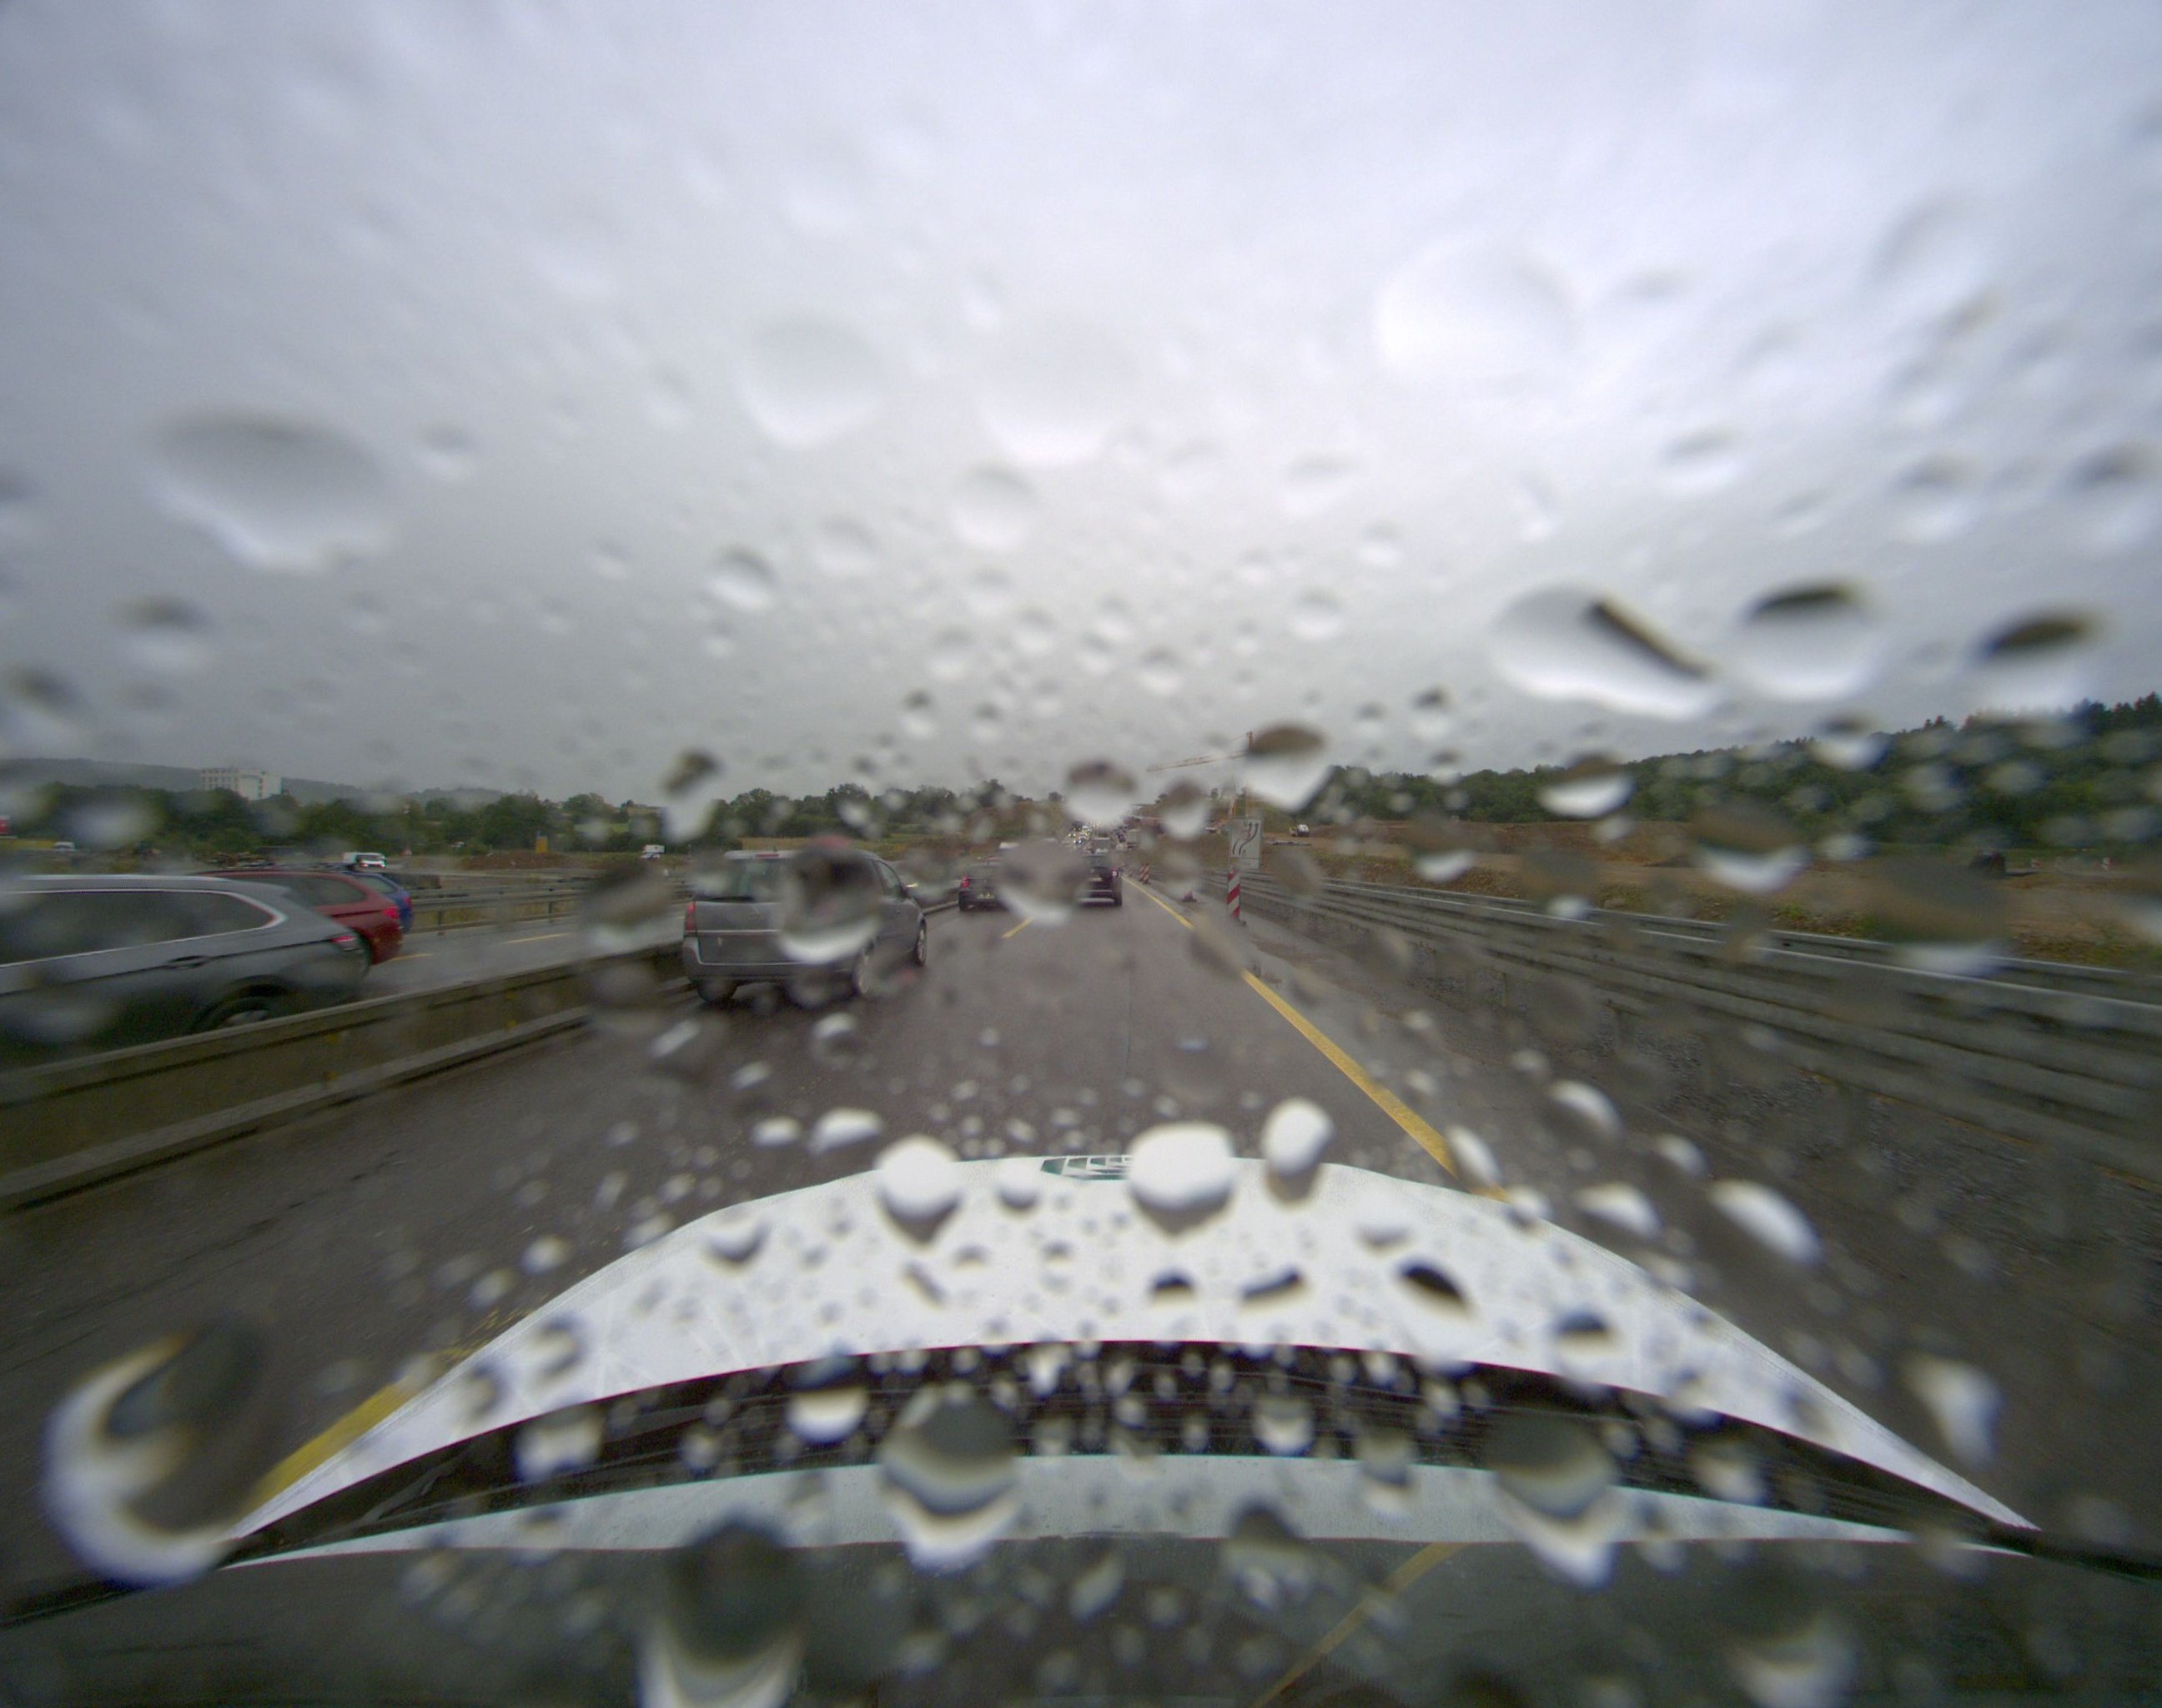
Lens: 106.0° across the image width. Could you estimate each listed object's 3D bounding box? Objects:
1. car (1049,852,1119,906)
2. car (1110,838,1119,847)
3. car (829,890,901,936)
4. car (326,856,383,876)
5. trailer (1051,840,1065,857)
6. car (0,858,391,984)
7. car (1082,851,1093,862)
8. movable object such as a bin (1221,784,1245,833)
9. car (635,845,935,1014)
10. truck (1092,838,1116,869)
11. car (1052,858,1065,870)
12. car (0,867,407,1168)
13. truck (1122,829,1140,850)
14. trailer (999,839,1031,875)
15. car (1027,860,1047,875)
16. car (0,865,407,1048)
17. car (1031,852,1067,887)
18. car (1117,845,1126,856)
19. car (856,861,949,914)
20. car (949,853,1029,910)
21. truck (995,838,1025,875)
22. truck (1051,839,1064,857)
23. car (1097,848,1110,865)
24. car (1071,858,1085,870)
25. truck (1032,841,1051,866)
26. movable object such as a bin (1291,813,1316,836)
[{"bbox_3d":[0.154,0.767,26.527,2.073,1.600,4.142,0,-1,2],"label":"car"},{"bbox_3d":[8.276,-2.842,199.915,1.986,2.013,4.001,-1,1,1],"label":"car"},{"bbox_3d":[-8.759,2.373,33.324,1.814,1.496,4.000,-1,1,0],"label":"car"},{"bbox_3d":[-75.134,1.246,84.252,4.987,2.014,2.283,-1,-1,20],"label":"car"},{"bbox_3d":[-4.926,-1.176,178.016,2.611,3.677,12.003,0,0,0],"label":"trailer"},{"bbox_3d":[-13.415,0.835,12.201,1.986,1.510,4.748,0,-1,2],"label":"car"},{"bbox_3d":[1.231,0.472,159.099,1.986,2.163,4.142,0,-1,2],"label":"car"},{"bbox_3d":[35.747,-10.458,191.393,4.683,10.842,10.345,-1,-1,15],"label":"movable object such as a bin"},{"bbox_3d":[-3.195,0.736,9.837,1.986,1.600,4.142,0,-1,2],"label":"car"},{"bbox_3d":[4.151,-0.055,146.113,3.083,5.426,9.466,-1,-1,9],"label":"truck"},{"bbox_3d":[-3.516,1.595,128.354,1.781,1.805,5.190,-2,-1,1],"label":"car"},{"bbox_3d":[-6.463,0.845,4.203,1.966,1.510,4.746,0,-1,0],"label":"car"},{"bbox_3d":[12.617,-3.543,205.150,3.791,5.042,12.921,0,-1,1],"label":"truck"},{"bbox_3d":[-7.770,0.360,96.731,2.676,3.963,9.821,-2,-1,1],"label":"trailer"},{"bbox_3d":[-4.519,1.357,84.072,1.703,1.453,4.000,0,-1,1],"label":"car"},{"bbox_3d":[-9.891,0.891,8.634,1.811,1.510,4.308,0,-1,2],"label":"car"},{"bbox_3d":[-1.867,0.903,49.241,1.987,2.014,3.893,0,-1,0],"label":"car"},{"bbox_3d":[8.905,-0.729,180.967,1.986,2.484,4.743,0,-1,2],"label":"car"},{"bbox_3d":[-5.836,1.046,27.151,1.900,1.449,4.413,-3,1,2],"label":"car"},{"bbox_3d":[-2.739,0.794,25.035,1.987,1.600,4.139,0,-1,0],"label":"car"},{"bbox_3d":[-7.895,0.303,90.918,2.676,3.927,5.274,-2,-1,1],"label":"truck"},{"bbox_3d":[-4.973,-1.204,172.174,2.611,3.677,6.595,0,0,0],"label":"truck"},{"bbox_3d":[3.411,0.348,123.507,1.986,2.484,4.983,0,-1,1],"label":"car"},{"bbox_3d":[-0.465,1.580,131.473,1.986,1.759,4.688,0,0,1],"label":"car"},{"bbox_3d":[-6.773,-0.075,139.563,2.739,4.062,6.149,0,-1,1],"label":"truck"},{"bbox_3d":[38.516,-5.079,141.213,2.335,3.600,6.555,0,-1,-2],"label":"movable object such as a bin"}]
